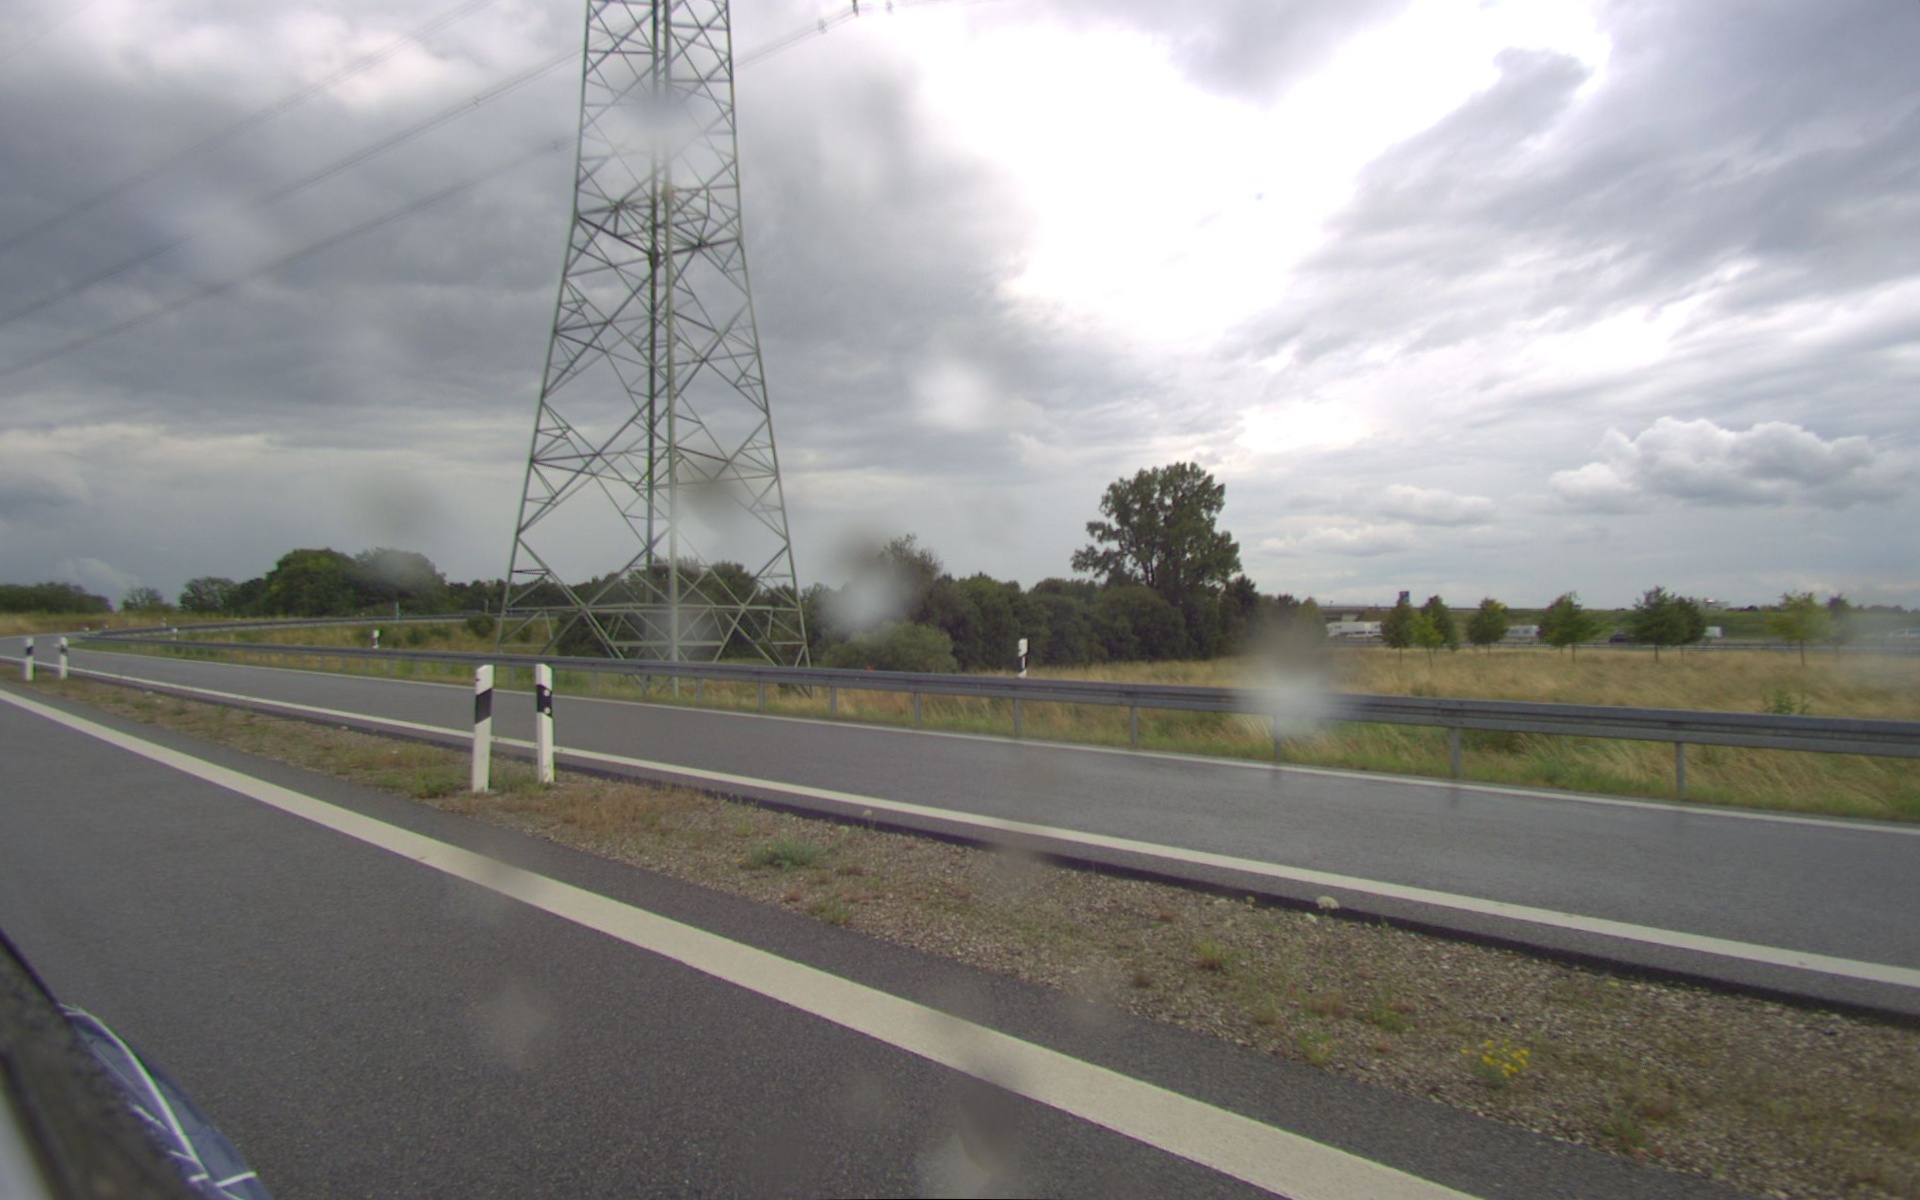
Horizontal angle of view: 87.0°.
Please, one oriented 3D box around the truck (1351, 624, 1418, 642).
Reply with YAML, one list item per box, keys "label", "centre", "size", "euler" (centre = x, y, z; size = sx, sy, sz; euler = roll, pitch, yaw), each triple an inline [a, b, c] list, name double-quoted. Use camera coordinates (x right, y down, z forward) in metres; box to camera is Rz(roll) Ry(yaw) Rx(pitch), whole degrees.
- label: "truck"
  centre: [82.393, 6.431, 196.701]
  size: [3.177, 3.115, 12.078]
  euler: [-2, -3, -33]
